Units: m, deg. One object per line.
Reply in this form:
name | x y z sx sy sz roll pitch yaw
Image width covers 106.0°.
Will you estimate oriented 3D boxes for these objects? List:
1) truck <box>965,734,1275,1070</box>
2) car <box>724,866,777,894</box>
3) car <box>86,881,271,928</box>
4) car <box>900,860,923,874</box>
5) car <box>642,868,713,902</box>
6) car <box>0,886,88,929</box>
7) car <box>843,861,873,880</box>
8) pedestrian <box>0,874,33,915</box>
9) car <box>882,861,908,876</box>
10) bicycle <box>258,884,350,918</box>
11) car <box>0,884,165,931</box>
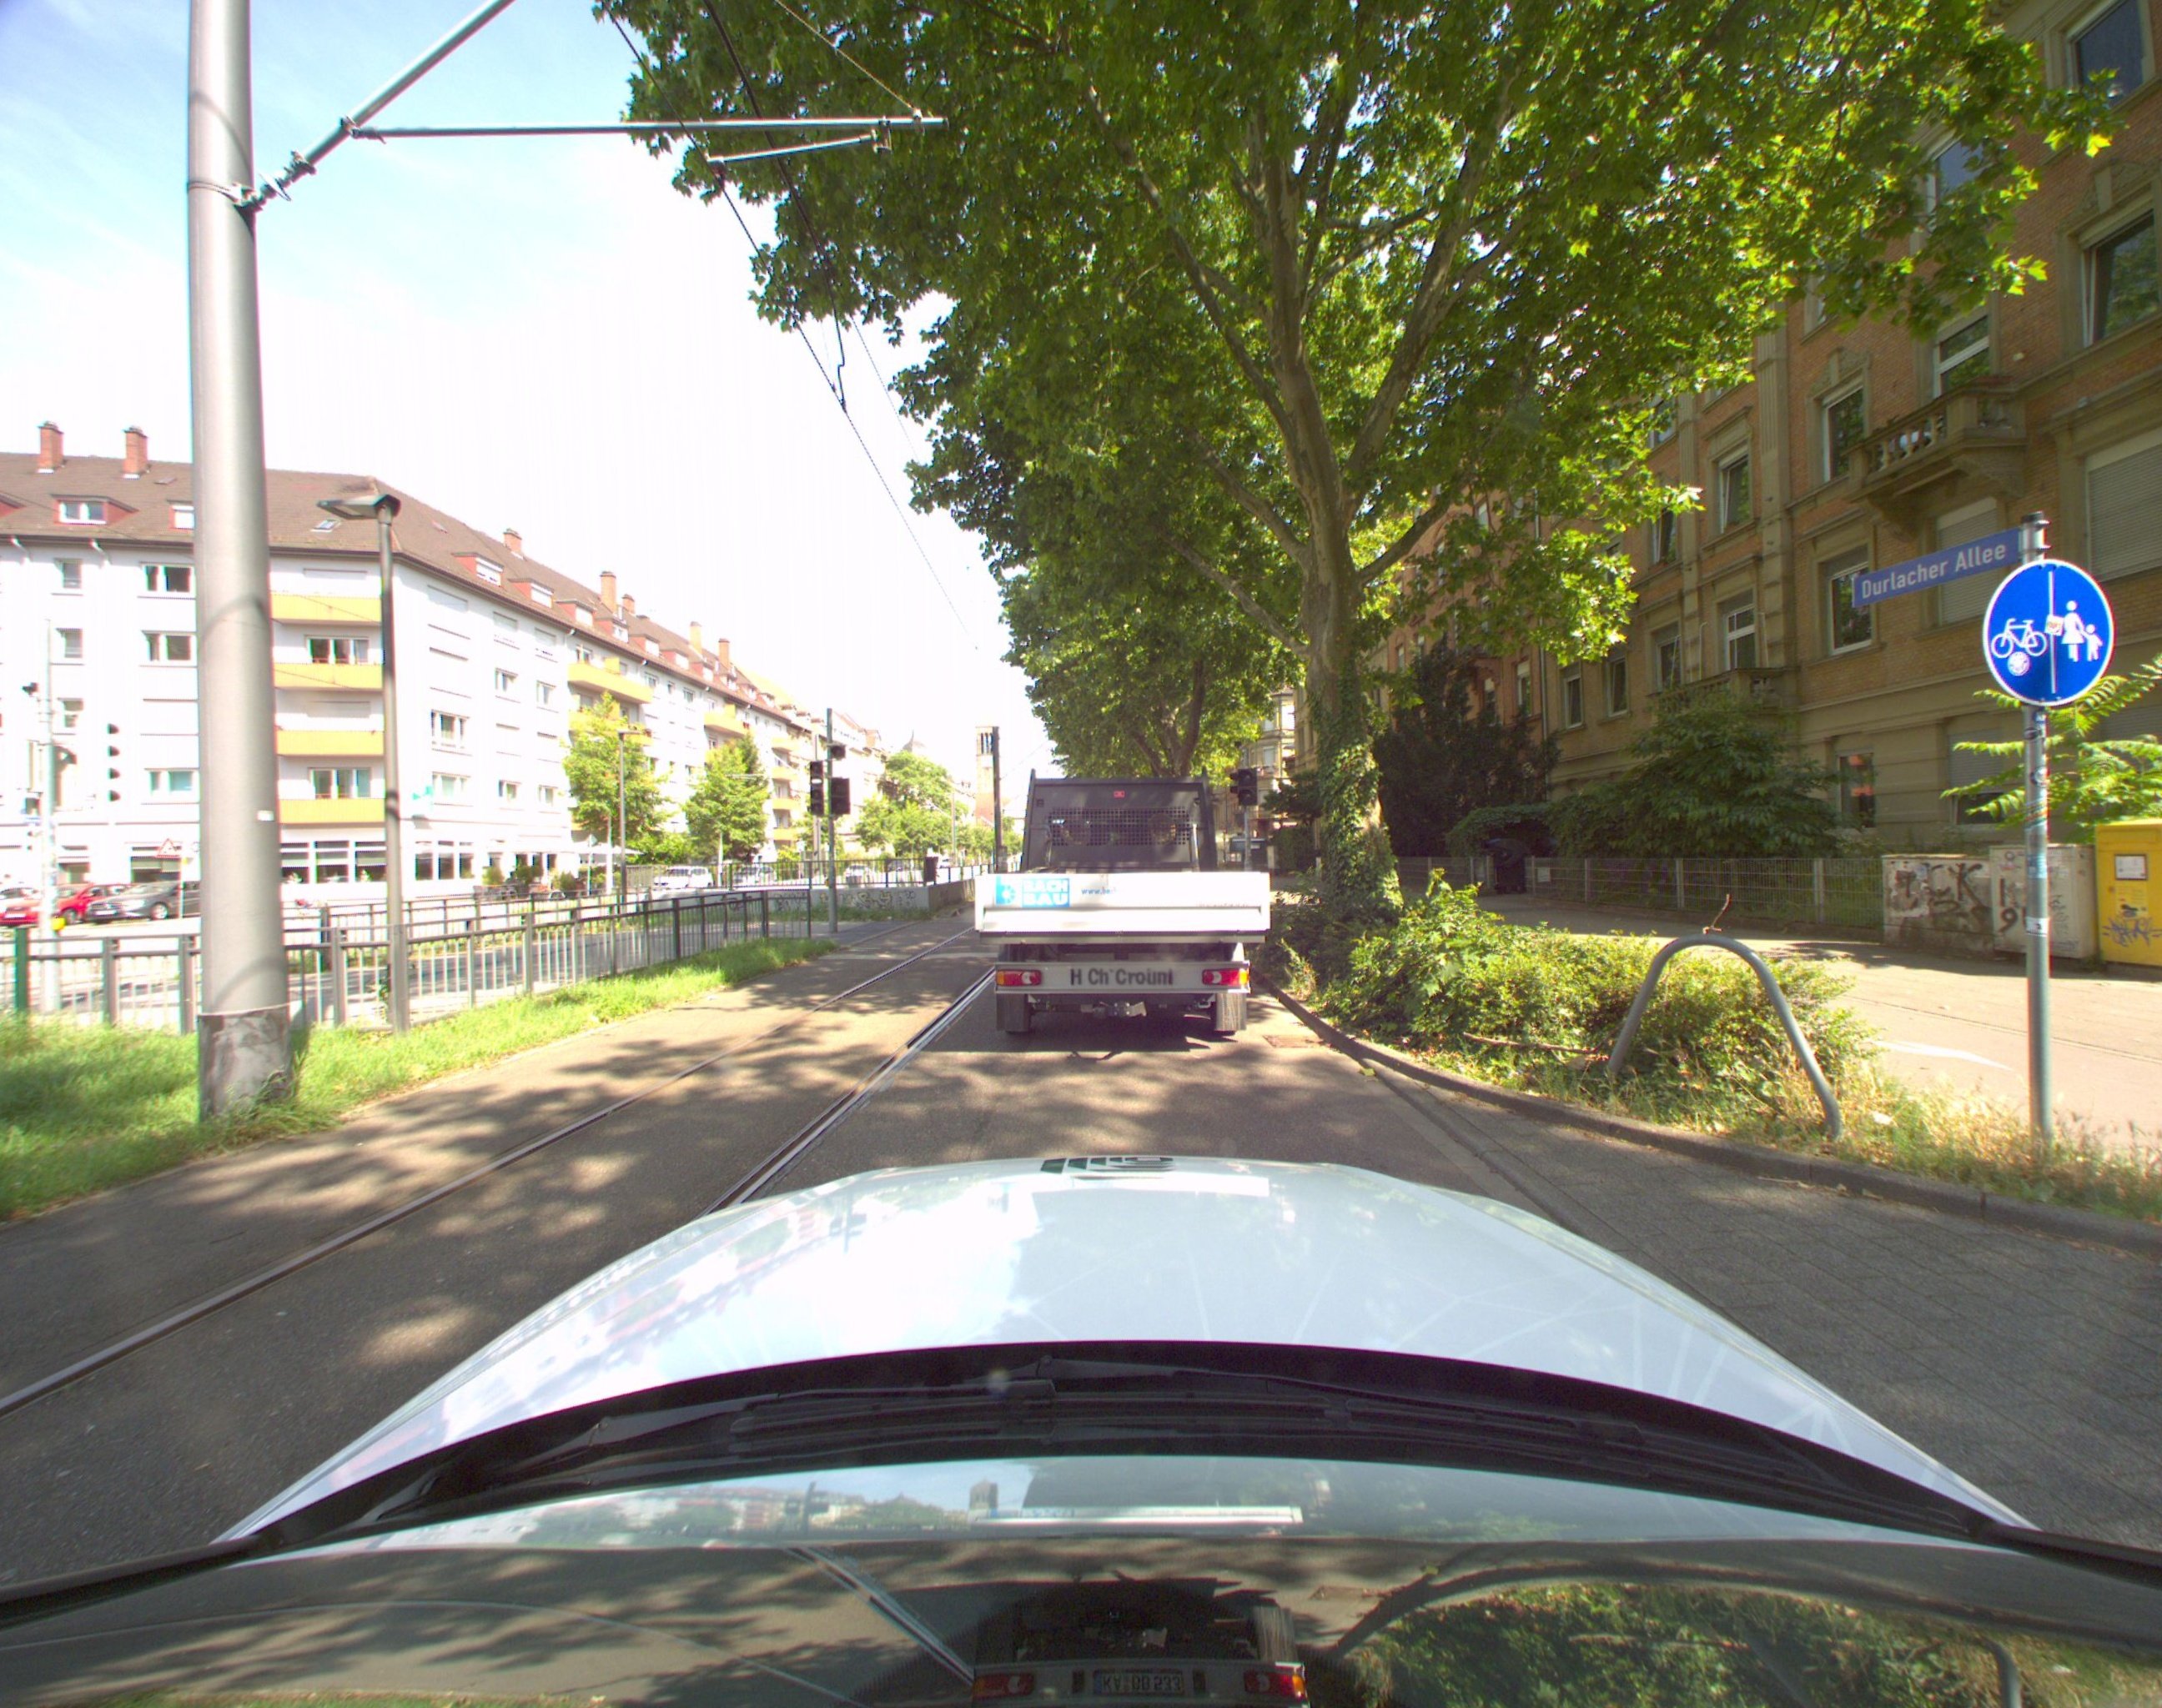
truck | 0.374 0.344 7.905 2.130 2.319 4.404 -1 0 3
car | -20.319 1.566 50.201 1.767 1.498 3.994 -3 0 -4
car | -33.175 1.805 30.186 1.830 1.376 4.637 -2 0 -4
car | -19.363 1.505 93.051 1.764 1.498 4.000 -2 0 0
car | -20.465 1.537 41.504 1.767 1.498 3.994 -3 0 -4
car | -39.322 1.978 29.447 1.929 1.406 4.158 -2 0 -6
car | -19.586 1.438 71.651 1.767 1.498 3.994 -2 0 -4
pedestrian | -42.165 1.609 32.204 0.690 1.572 0.542 -1 0 -22
car | -19.446 1.481 85.210 1.764 1.498 4.000 -2 0 0
bicycle | -30.110 1.800 31.649 0.908 1.137 2.807 -2 0 -1
car | -36.534 1.895 29.614 1.929 1.406 4.158 -2 0 -6
